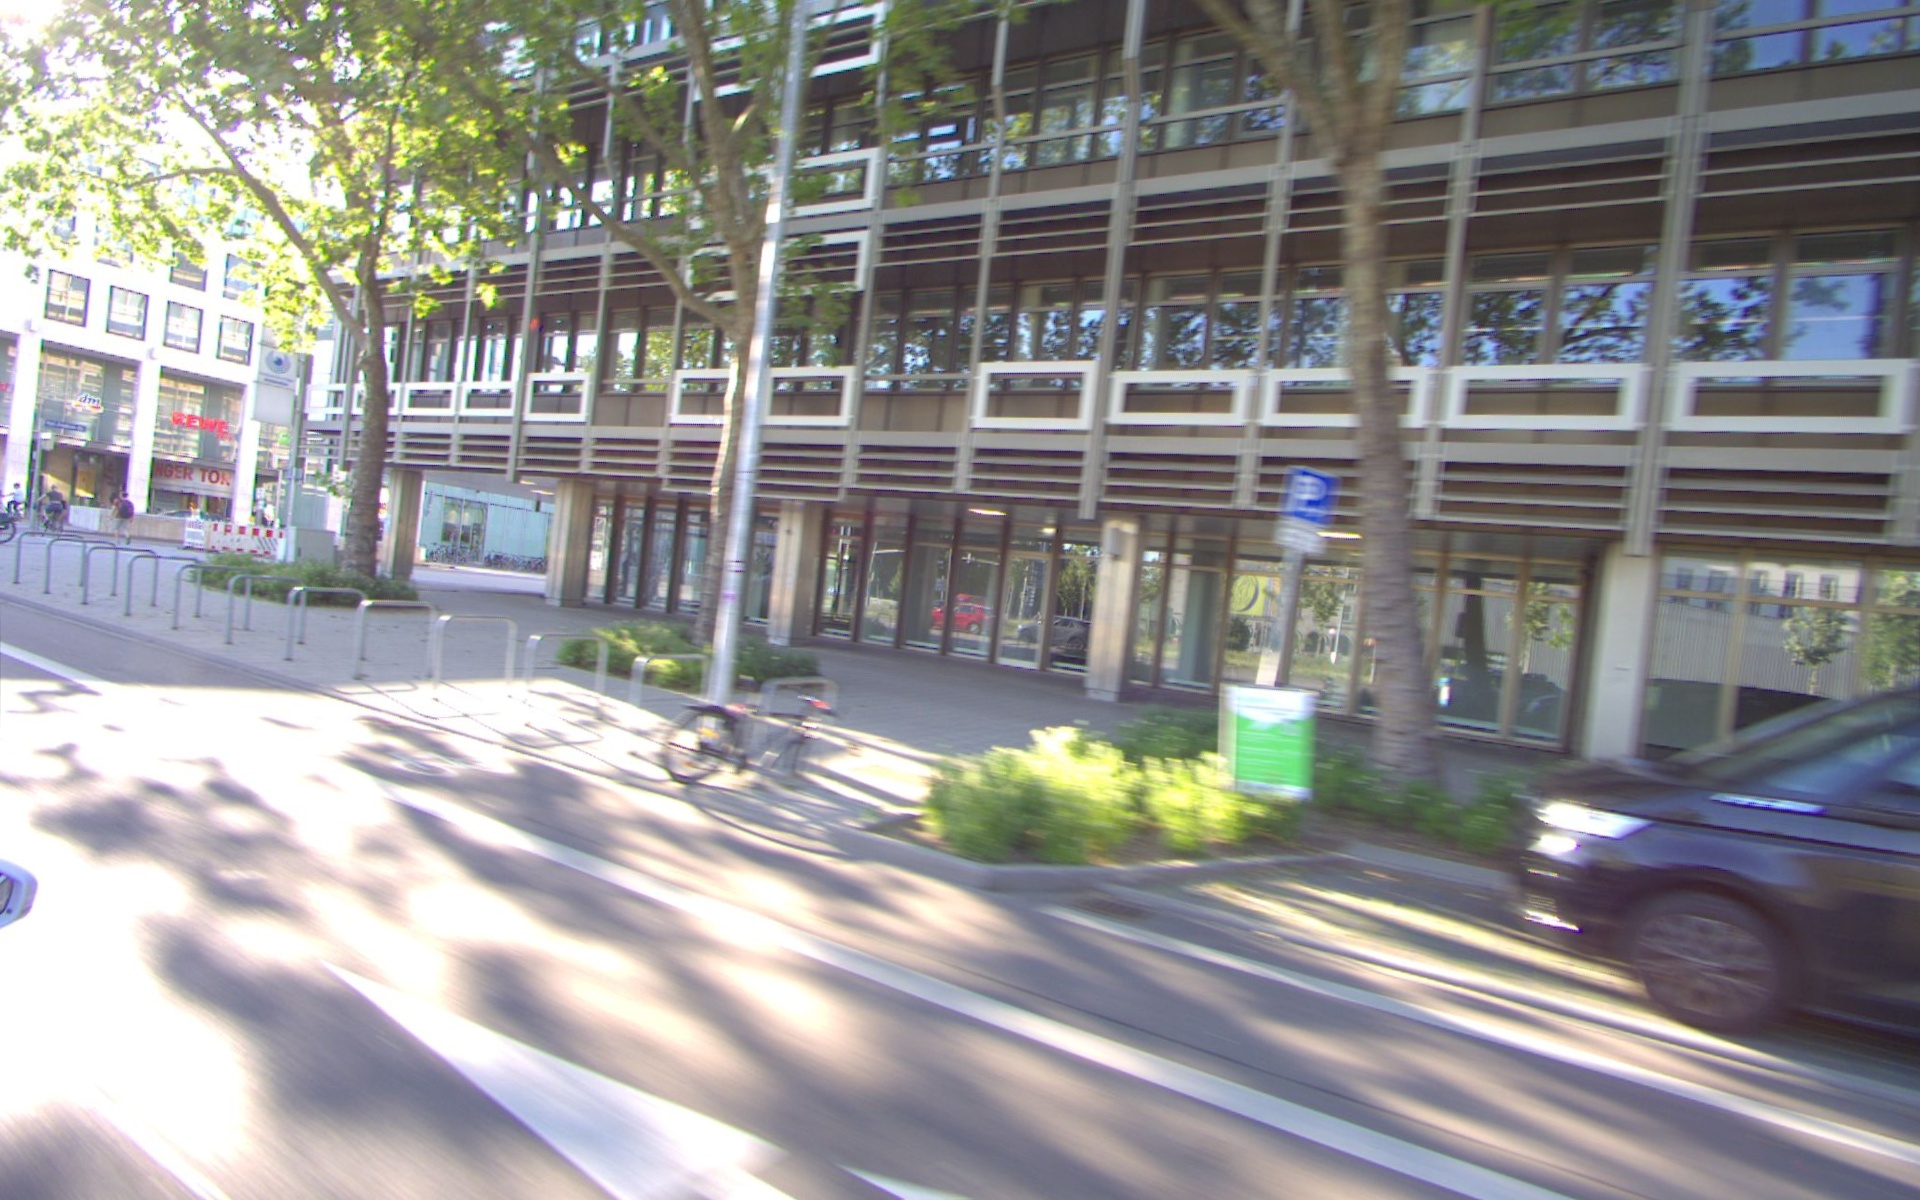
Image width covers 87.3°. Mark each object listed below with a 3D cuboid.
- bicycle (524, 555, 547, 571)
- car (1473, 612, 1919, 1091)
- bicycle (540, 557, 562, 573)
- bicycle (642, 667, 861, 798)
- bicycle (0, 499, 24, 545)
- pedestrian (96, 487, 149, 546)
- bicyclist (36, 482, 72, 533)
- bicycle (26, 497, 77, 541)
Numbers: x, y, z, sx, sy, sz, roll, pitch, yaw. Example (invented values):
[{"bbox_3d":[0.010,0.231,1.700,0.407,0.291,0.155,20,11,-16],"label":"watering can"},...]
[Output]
[{"bbox_3d":[-30.045,-2.630,71.222,1.611,0.945,0.541,7,1,30],"label":"bicycle"},{"bbox_3d":[5.614,1.363,4.930,5.232,1.997,1.830,7,3,31],"label":"car"},{"bbox_3d":[-29.447,-2.550,72.454,1.611,0.945,0.541,7,1,30],"label":"bicycle"},{"bbox_3d":[-1.625,1.014,8.081,0.564,0.878,1.689,8,2,39],"label":"bicycle"},{"bbox_3d":[-24.181,-1.991,24.599,0.471,1.100,1.804,7,2,32],"label":"bicycle"},{"bbox_3d":[-27.278,-2.714,32.765,1.095,1.724,0.910,7,1,32],"label":"pedestrian"},{"bbox_3d":[-29.591,-3.013,32.851,0.737,1.541,0.579,7,1,32],"label":"bicyclist"},{"bbox_3d":[-29.746,-2.659,32.928,2.118,1.247,0.592,7,1,32],"label":"bicycle"}]
